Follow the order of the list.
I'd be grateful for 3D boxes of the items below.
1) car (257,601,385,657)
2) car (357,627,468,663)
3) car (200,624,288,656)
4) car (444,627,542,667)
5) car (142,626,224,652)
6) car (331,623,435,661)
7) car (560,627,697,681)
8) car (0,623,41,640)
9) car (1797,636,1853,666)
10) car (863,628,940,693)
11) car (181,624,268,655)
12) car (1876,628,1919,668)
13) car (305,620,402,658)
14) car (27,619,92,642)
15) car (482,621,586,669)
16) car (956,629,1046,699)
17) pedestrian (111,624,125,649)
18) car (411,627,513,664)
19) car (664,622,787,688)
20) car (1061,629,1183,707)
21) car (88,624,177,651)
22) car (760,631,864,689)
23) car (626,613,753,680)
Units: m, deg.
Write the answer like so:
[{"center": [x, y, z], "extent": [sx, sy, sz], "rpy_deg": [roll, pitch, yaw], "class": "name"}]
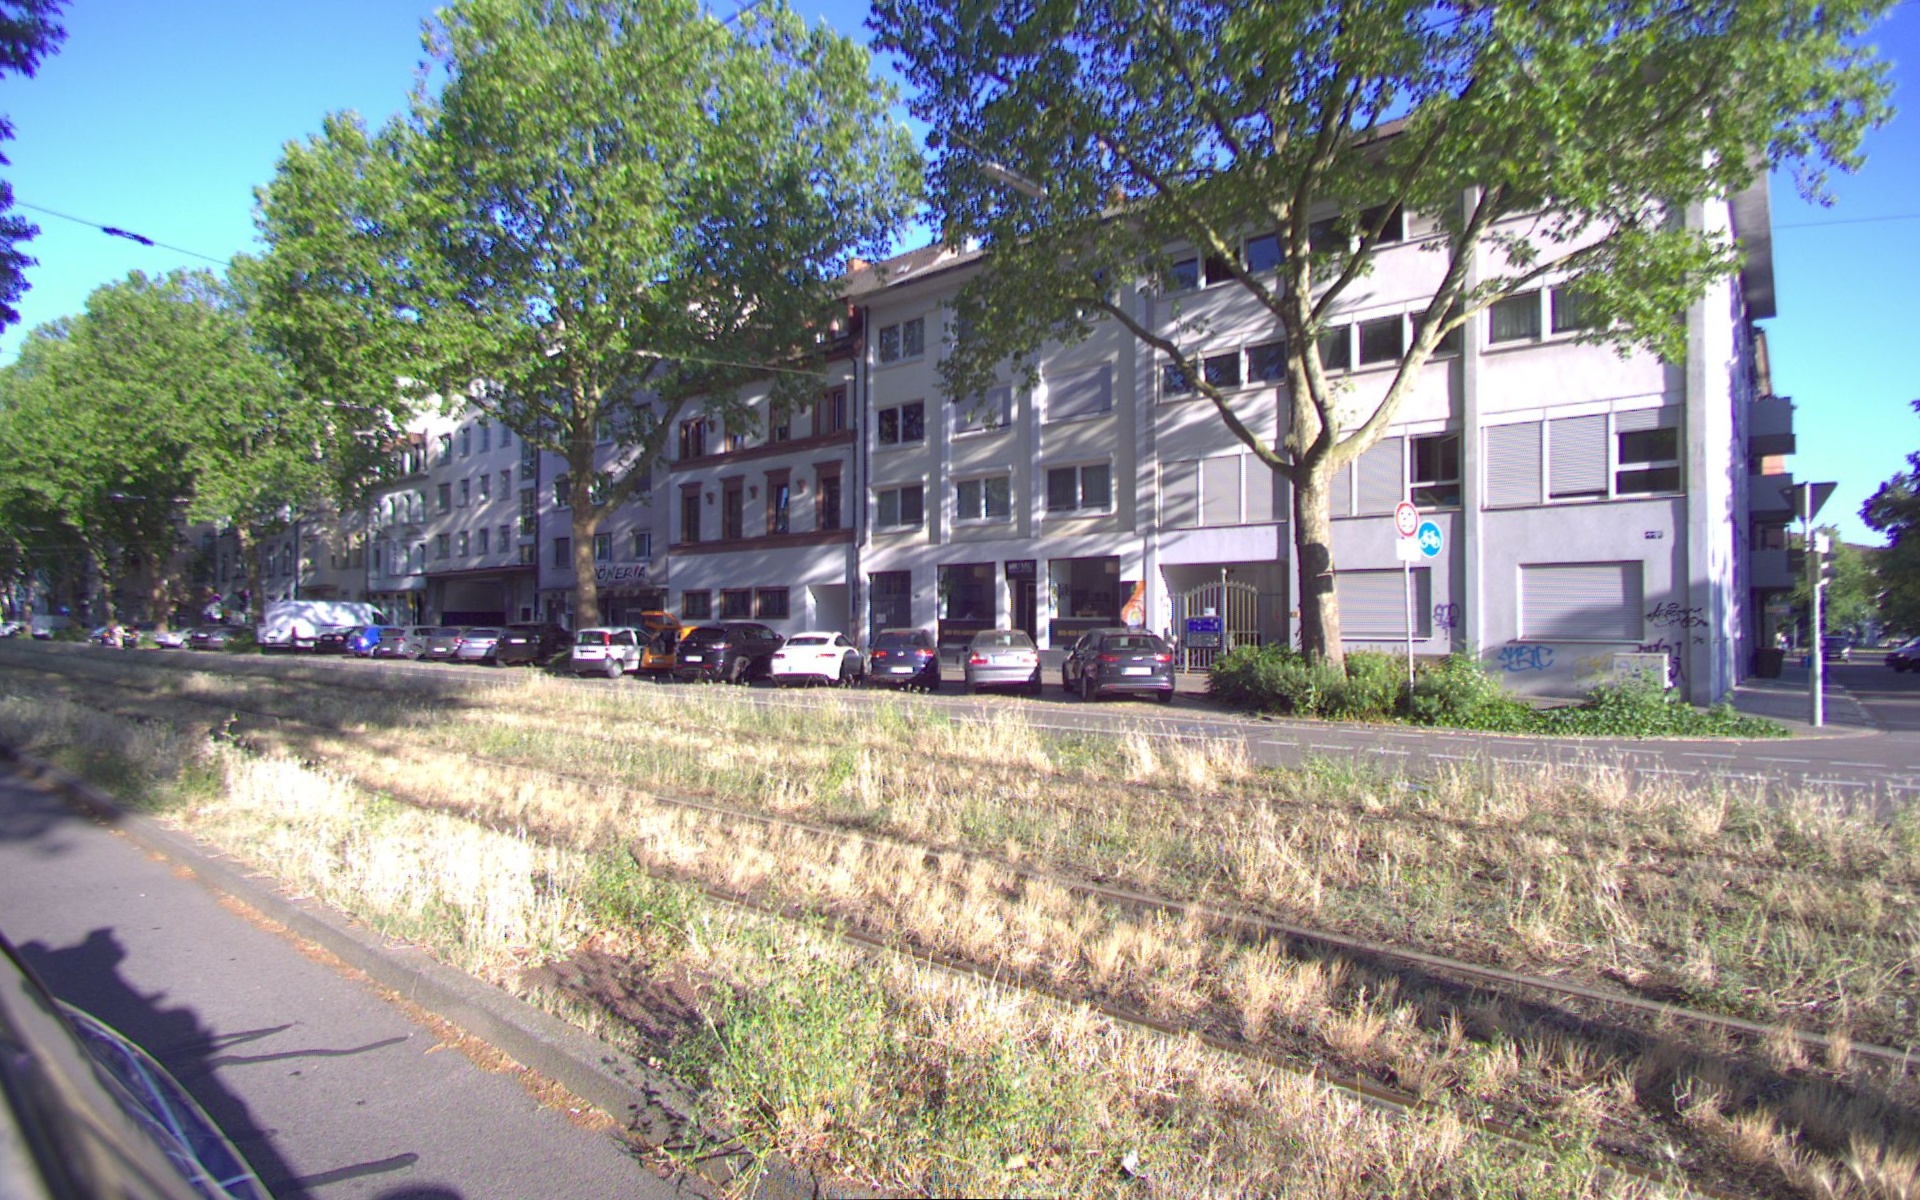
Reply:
[{"center": [-33.083, 1.504, 52.618], "extent": [2.161, 2.721, 5.583], "rpy_deg": [0, -2, 16], "class": "car"}, {"center": [-23.847, 1.936, 44.267], "extent": [1.985, 1.530, 3.973], "rpy_deg": [0, -2, 20], "class": "car"}, {"center": [-42.542, 2.365, 60.231], "extent": [1.980, 1.830, 3.982], "rpy_deg": [0, -2, 13], "class": "car"}, {"center": [-18.119, 1.789, 39.478], "extent": [1.582, 1.470, 4.251], "rpy_deg": [0, -2, 4], "class": "car"}, {"center": [-51.782, 2.591, 67.543], "extent": [1.980, 1.719, 3.982], "rpy_deg": [0, -2, 13], "class": "car"}, {"center": [-26.276, 1.883, 46.239], "extent": [1.980, 1.630, 3.982], "rpy_deg": [0, -2, 13], "class": "car"}, {"center": [-10.274, 1.646, 31.666], "extent": [1.634, 1.569, 4.221], "rpy_deg": [-1, -2, 25], "class": "car"}, {"center": [-106.666, 3.557, 114.393], "extent": [3.937, 1.827, 1.876], "rpy_deg": [2, -2, -40], "class": "car"}, {"center": [62.835, 3.653, 73.609], "extent": [1.991, 2.029, 5.371], "rpy_deg": [-1, -2, 29], "class": "car"}, {"center": [-1.453, 1.465, 25.616], "extent": [1.805, 1.516, 3.973], "rpy_deg": [0, -2, -2], "class": "car"}, {"center": [-45.137, 2.420, 62.225], "extent": [1.980, 1.830, 3.982], "rpy_deg": [0, -2, 13], "class": "car"}, {"center": [50.055, 2.406, 50.947], "extent": [5.389, 2.029, 1.985], "rpy_deg": [-1, -2, 23], "class": "car"}, {"center": [-30.580, 1.946, 51.177], "extent": [1.980, 1.830, 3.982], "rpy_deg": [0, -2, 13], "class": "car"}, {"center": [-88.322, 3.017, 99.376], "extent": [2.071, 2.230, 4.943], "rpy_deg": [0, -2, -2], "class": "car"}, {"center": [-15.565, 1.623, 37.242], "extent": [1.882, 1.626, 4.254], "rpy_deg": [0, -2, 2], "class": "car"}, {"center": [0.855, 1.397, 23.246], "extent": [1.717, 1.443, 3.973], "rpy_deg": [-1, -2, -2], "class": "car"}, {"center": [-54.607, 2.367, 65.665], "extent": [0.422, 1.610, 0.612], "rpy_deg": [-1, -2, 41], "class": "pedestrian"}, {"center": [-20.456, 1.842, 41.788], "extent": [1.883, 1.468, 4.251], "rpy_deg": [0, -2, 4], "class": "car"}, {"center": [-6.492, 1.493, 28.533], "extent": [2.126, 1.697, 4.250], "rpy_deg": [0, -2, 6], "class": "car"}, {"center": [3.278, 1.342, 21.194], "extent": [1.746, 1.442, 3.973], "rpy_deg": [0, -1, -2], "class": "car"}, {"center": [-54.704, 2.453, 66.950], "extent": [1.996, 1.719, 4.184], "rpy_deg": [-1, -2, 36], "class": "car"}, {"center": [-3.786, 1.531, 26.648], "extent": [2.123, 1.388, 4.257], "rpy_deg": [0, -2, 0], "class": "car"}, {"center": [-8.373, 1.424, 31.693], "extent": [1.508, 1.958, 4.221], "rpy_deg": [-1, -2, 25], "class": "car"}]
